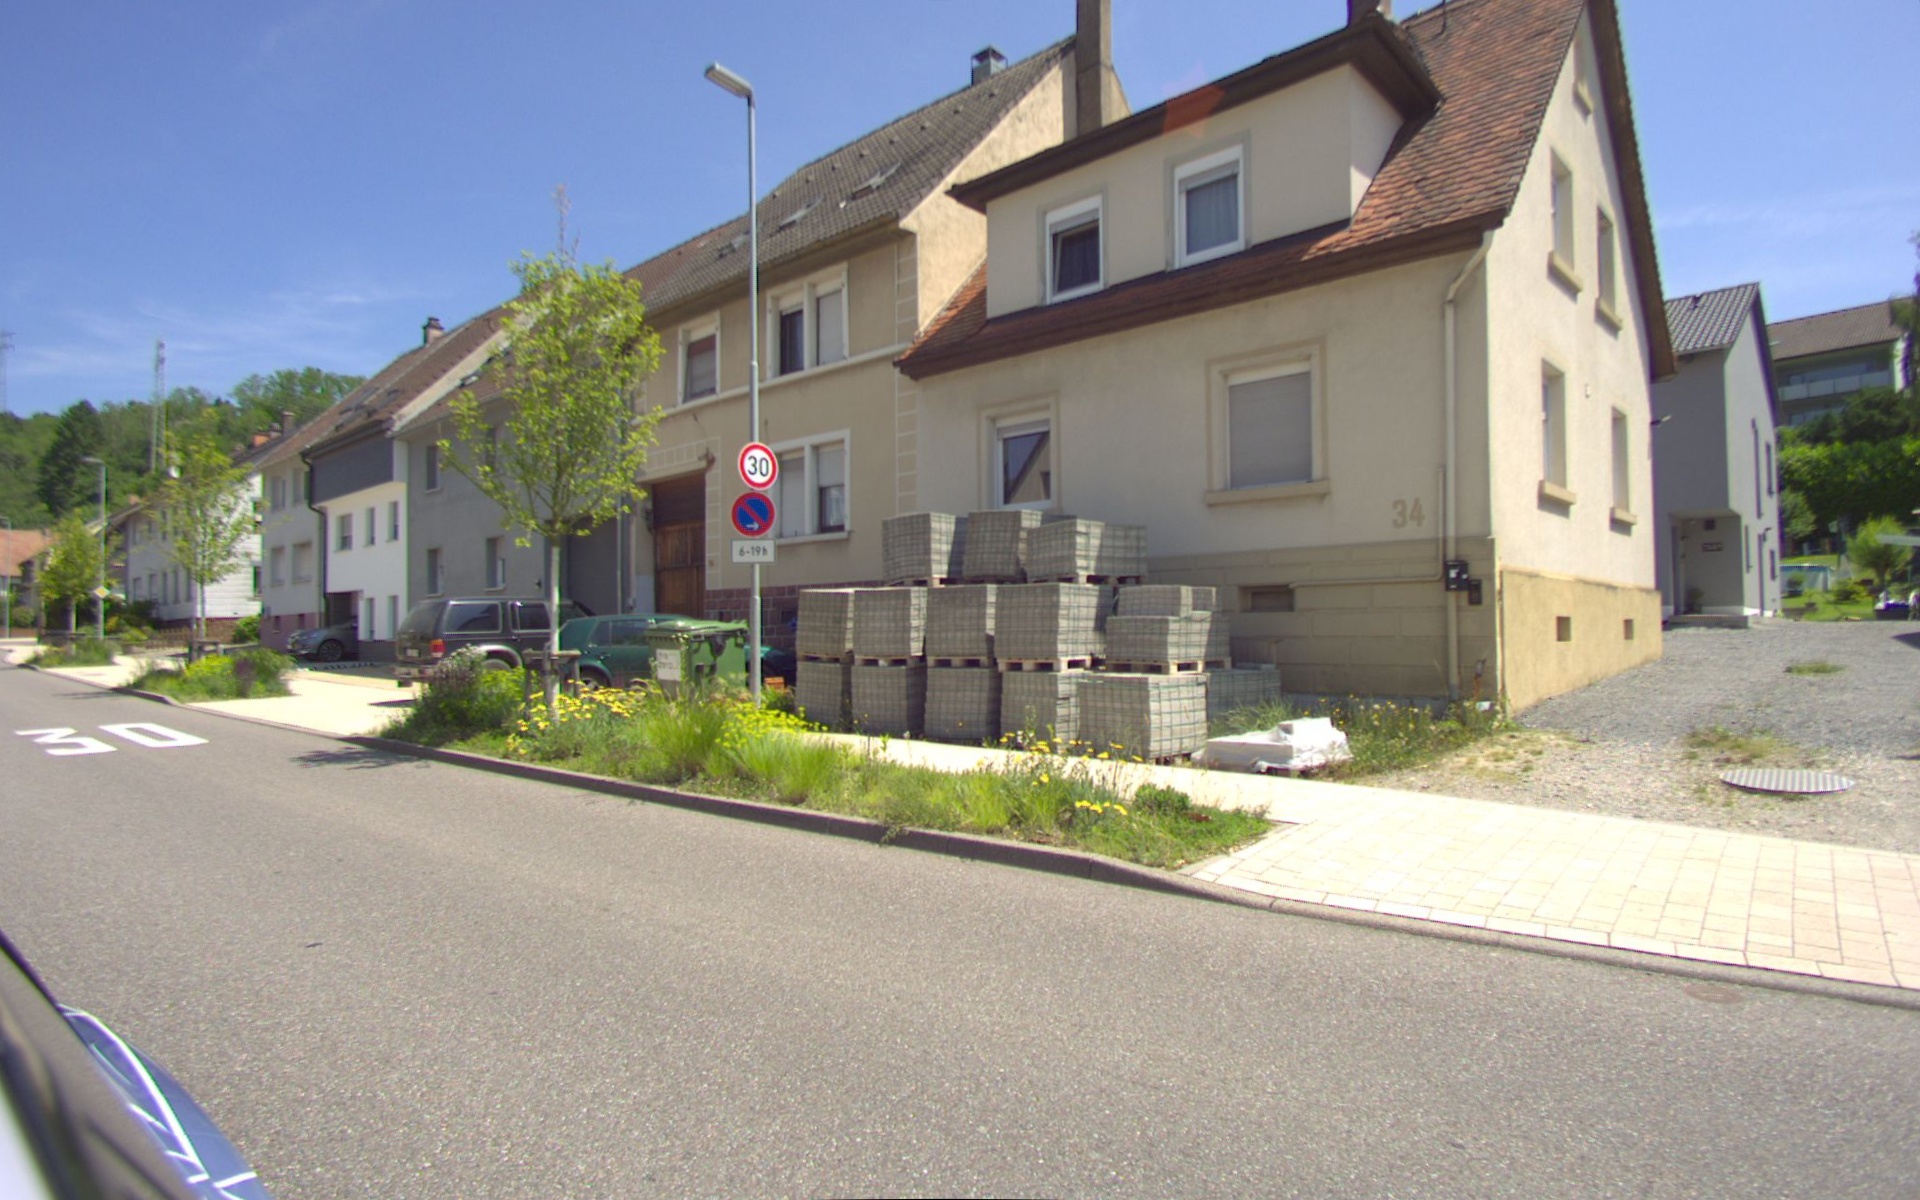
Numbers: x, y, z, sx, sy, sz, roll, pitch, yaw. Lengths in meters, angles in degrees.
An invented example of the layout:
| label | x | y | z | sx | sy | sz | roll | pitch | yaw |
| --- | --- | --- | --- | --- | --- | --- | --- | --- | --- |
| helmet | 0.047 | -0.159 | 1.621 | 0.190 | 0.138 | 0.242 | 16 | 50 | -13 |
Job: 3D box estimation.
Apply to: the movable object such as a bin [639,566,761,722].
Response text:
| label | x | y | z | sx | sy | sz | roll | pitch | yaw |
| --- | --- | --- | --- | --- | --- | --- | --- | --- | --- |
| movable object such as a bin | -3.599 | 0.575 | 13.998 | 1.322 | 2.029 | 1.048 | -1 | 0 | 41 |

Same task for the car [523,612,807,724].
| label | x | y | z | sx | sy | sz | roll | pitch | yaw |
| --- | --- | --- | --- | --- | --- | --- | --- | --- | --- |
| car | -4.417 | 0.981 | 15.618 | 3.985 | 1.511 | 1.707 | -1 | 0 | -10 |

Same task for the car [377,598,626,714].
| label | x | y | z | sx | sy | sz | roll | pitch | yaw |
| --- | --- | --- | --- | --- | --- | --- | --- | --- | --- |
| car | -8.012 | 0.885 | 17.897 | 1.847 | 1.804 | 3.561 | -1 | 0 | 40 |
